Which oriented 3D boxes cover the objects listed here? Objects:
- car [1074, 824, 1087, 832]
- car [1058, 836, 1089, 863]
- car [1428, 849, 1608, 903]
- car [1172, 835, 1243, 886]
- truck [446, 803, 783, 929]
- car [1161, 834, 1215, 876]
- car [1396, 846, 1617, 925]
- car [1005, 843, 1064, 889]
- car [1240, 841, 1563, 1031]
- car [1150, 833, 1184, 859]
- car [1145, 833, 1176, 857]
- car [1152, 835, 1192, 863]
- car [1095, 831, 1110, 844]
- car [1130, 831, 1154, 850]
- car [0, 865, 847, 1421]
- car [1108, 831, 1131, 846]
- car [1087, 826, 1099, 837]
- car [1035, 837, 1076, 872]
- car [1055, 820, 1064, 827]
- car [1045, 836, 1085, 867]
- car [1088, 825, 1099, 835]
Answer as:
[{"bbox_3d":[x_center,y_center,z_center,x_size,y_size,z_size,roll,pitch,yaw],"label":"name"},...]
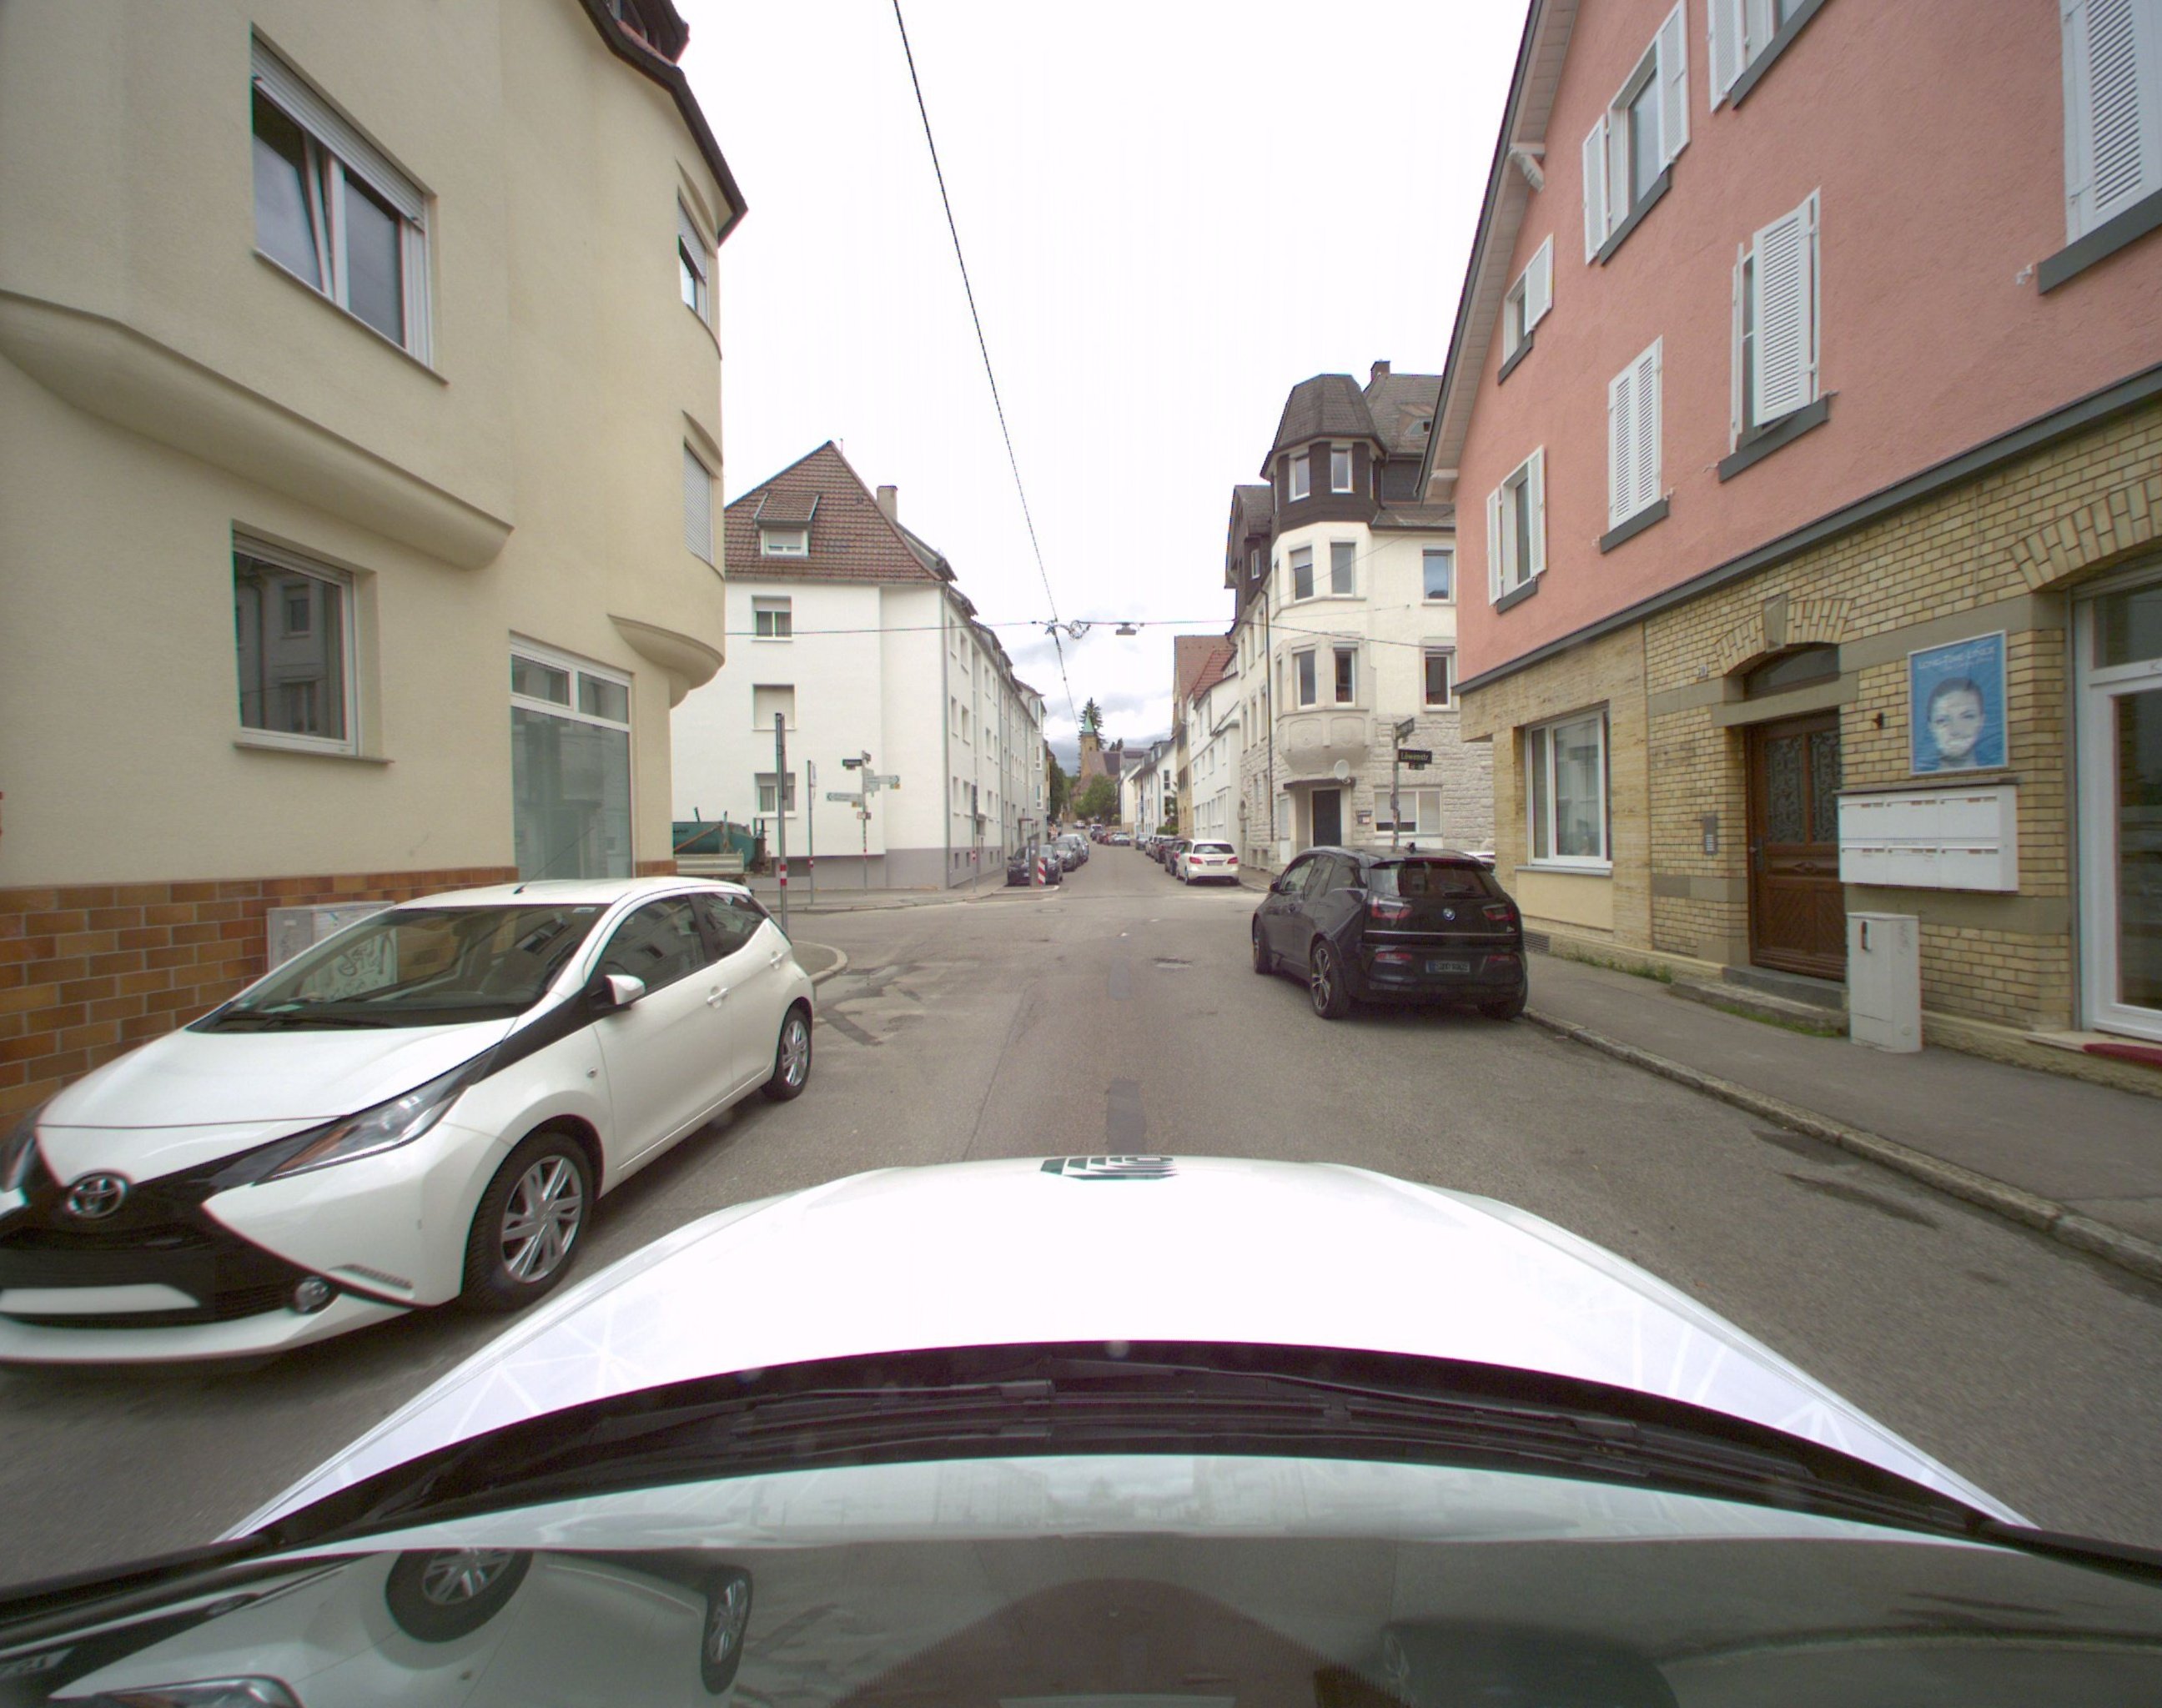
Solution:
[{"bbox_3d":[-0.071,-5.318,165.323,2.179,1.693,3.619,-1,2,-6],"label":"car"},{"bbox_3d":[-0.432,-0.326,48.438,1.724,1.448,3.720,-2,2,0],"label":"car"},{"bbox_3d":[12.131,0.598,22.735,4.221,1.414,1.701,1,1,-7],"label":"car"},{"bbox_3d":[4.376,0.159,28.737,1.815,1.599,4.027,1,2,-1],"label":"car"},{"bbox_3d":[-10.444,0.247,18.757,6.258,2.552,2.313,-1,-1,-6],"label":"truck"},{"bbox_3d":[4.369,-0.002,33.791,1.663,1.532,4.027,1,2,-1],"label":"car"},{"bbox_3d":[8.411,0.601,16.262,3.610,1.479,1.670,1,1,-7],"label":"car"},{"bbox_3d":[-1.585,0.360,29.212,1.814,1.391,4.298,-2,2,0],"label":"car"},{"bbox_3d":[3.004,0.659,8.640,1.812,1.543,4.026,1,0,-1],"label":"car"},{"bbox_3d":[5.261,-0.541,50.252,1.663,1.479,3.625,1,2,-1],"label":"car"},{"bbox_3d":[5.335,-0.657,54.926,1.663,1.479,3.625,1,2,-1],"label":"car"},{"bbox_3d":[4.880,-0.297,44.112,1.663,1.384,4.027,1,2,-1],"label":"car"},{"bbox_3d":[2.606,-1.980,97.634,1.663,1.479,3.625,-1,2,-1],"label":"car"},{"bbox_3d":[5.055,-1.181,68.132,1.663,1.479,3.625,1,2,-1],"label":"car"},{"bbox_3d":[-2.651,0.815,4.102,1.660,1.434,3.818,-2,-1,2],"label":"car"},{"bbox_3d":[4.097,-1.691,86.599,1.783,1.479,3.617,-1,2,-8],"label":"car"},{"bbox_3d":[1.669,-3.113,114.651,1.663,1.479,3.625,-1,2,-1],"label":"car"},{"bbox_3d":[-1.144,-0.007,38.465,1.724,1.489,3.720,-2,2,0],"label":"car"},{"bbox_3d":[-4.731,-6.518,175.615,1.665,1.479,3.619,-1,2,-6],"label":"car"},{"bbox_3d":[-0.810,-0.161,43.260,1.722,1.469,3.724,-2,2,4],"label":"car"},{"bbox_3d":[1.900,-3.766,126.387,1.663,1.479,3.625,-1,2,-1],"label":"car"}]
